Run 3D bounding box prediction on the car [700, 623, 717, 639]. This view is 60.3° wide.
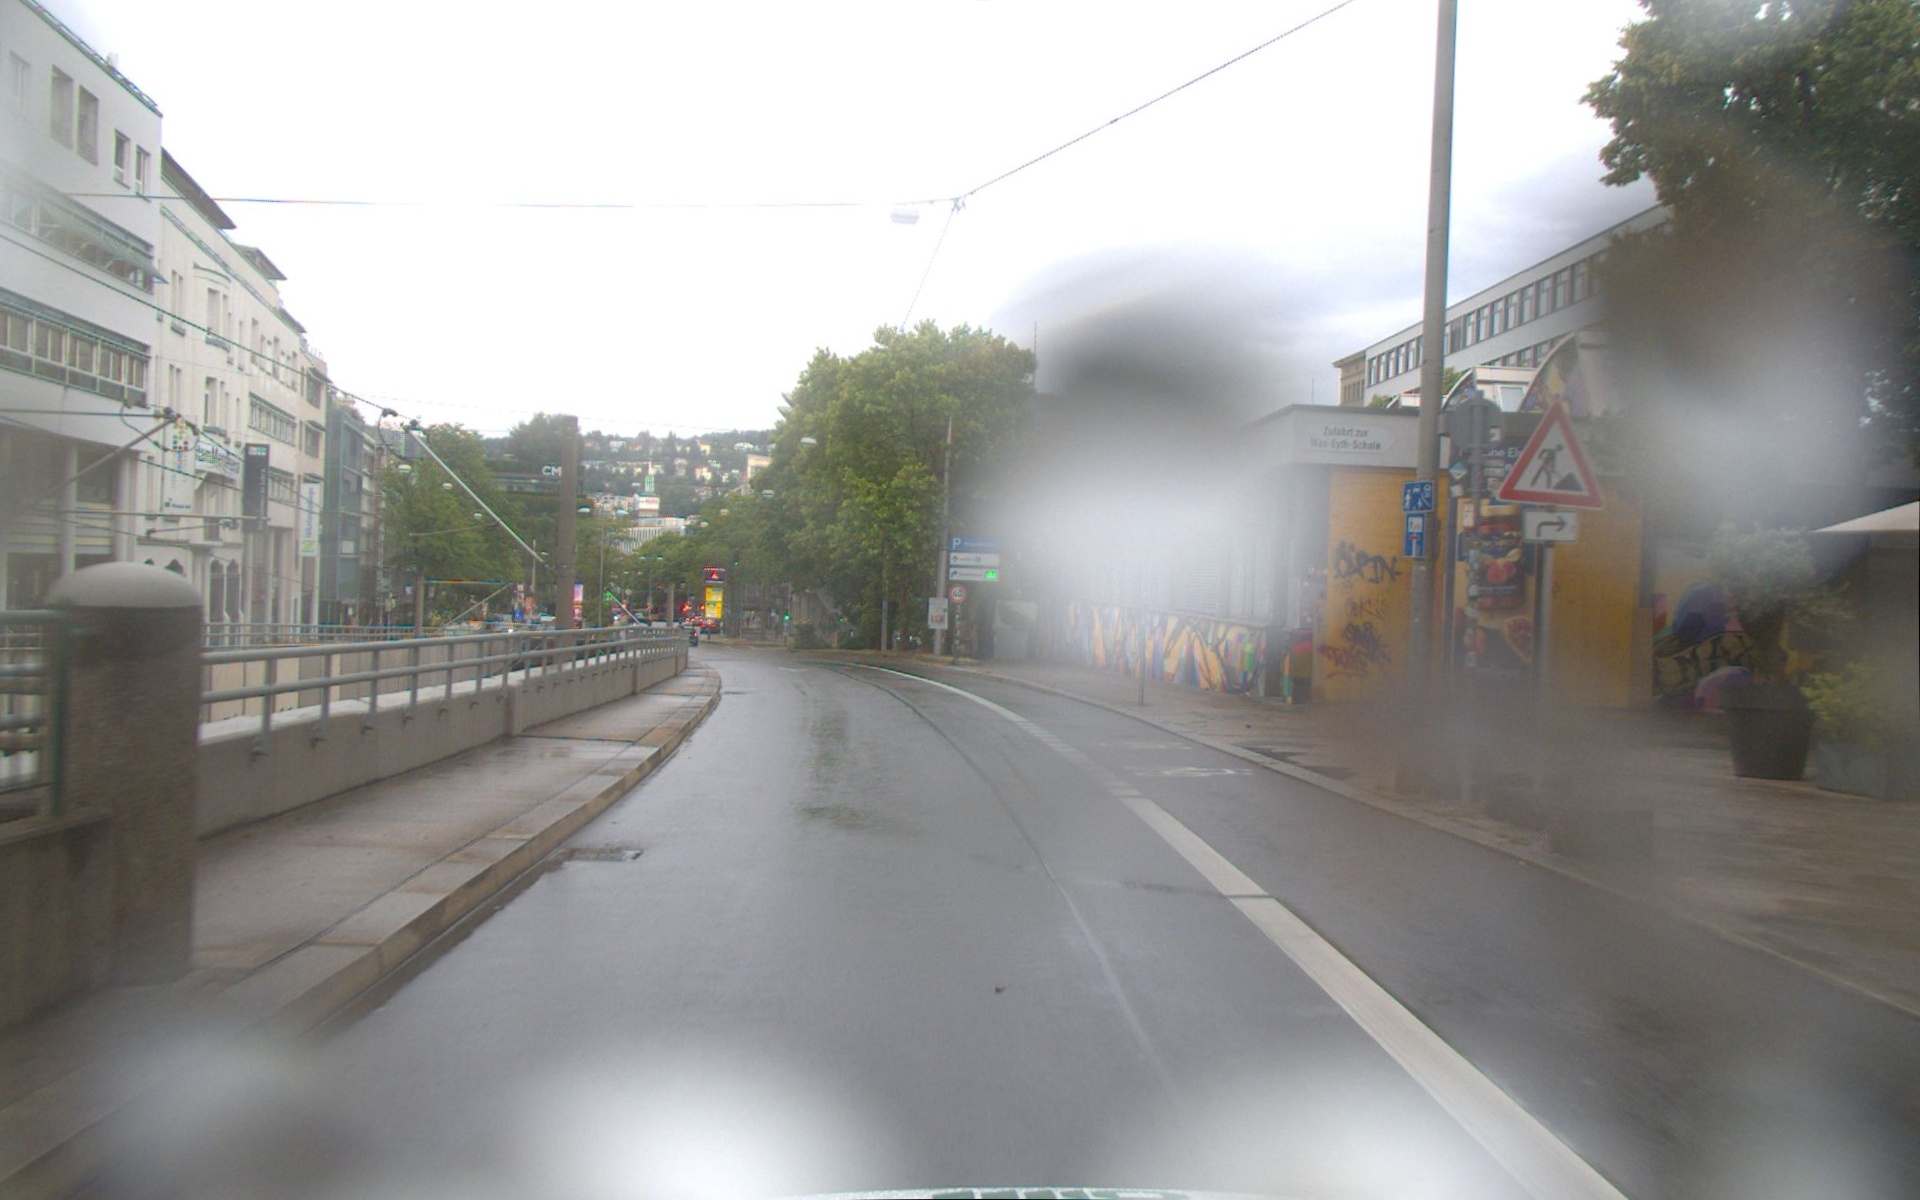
[{"bbox_3d":[-29.201,3.590,191.794,1.866,1.713,3.901,2,-2,-9],"label":"car"}]

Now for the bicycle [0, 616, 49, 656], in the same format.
[{"bbox_3d":[-27.303,0.993,46.359,1.662,1.062,4.512,1,0,-9],"label":"bicycle"}]

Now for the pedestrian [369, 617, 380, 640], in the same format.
[{"bbox_3d":[-44.833,2.195,126.611,0.653,1.701,0.486,2,-2,-15],"label":"pedestrian"}]

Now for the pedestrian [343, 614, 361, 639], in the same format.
[{"bbox_3d":[-46.860,2.051,127.513,0.846,1.901,0.960,2,-2,5],"label":"pedestrian"}]

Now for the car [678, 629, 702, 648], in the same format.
[{"bbox_3d":[-23.050,3.244,141.120,1.716,1.546,4.091,2,-2,-14],"label":"car"}]

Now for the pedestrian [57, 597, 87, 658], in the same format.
[{"bbox_3d":[-24.351,0.739,45.358,0.664,1.644,0.933,2,-1,-28],"label":"pedestrian"}]

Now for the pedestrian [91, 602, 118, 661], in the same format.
[{"bbox_3d":[-26.460,0.972,51.159,0.664,1.816,0.933,2,-1,-28],"label":"pedestrian"}]

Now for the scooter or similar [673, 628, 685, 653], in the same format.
[{"bbox_3d":[-17.020,2.459,100.167,0.537,1.443,1.947,2,-2,-15],"label":"scooter or similar"}]

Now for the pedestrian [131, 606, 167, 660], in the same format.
[{"bbox_3d":[-25.646,1.047,52.293,0.778,1.671,0.672,1,-1,33],"label":"pedestrian"}]

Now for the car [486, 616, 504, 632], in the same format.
[{"bbox_3d":[-52.219,2.712,185.908,1.750,1.582,3.879,3,1,-14],"label":"car"}]

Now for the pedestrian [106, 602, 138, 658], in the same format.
[{"bbox_3d":[-26.610,0.962,52.538,0.597,1.752,0.671,1,-1,36],"label":"pedestrian"}]

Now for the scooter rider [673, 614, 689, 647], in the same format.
[{"bbox_3d":[-16.921,1.828,100.263,0.795,1.982,0.819,3,-2,-16],"label":"scooter rider"}]

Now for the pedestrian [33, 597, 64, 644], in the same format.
[{"bbox_3d":[-28.821,0.645,52.299,0.596,1.444,0.672,2,-1,-9],"label":"pedestrian"}]

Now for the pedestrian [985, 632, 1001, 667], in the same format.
[{"bbox_3d":[1.828,2.731,91.146,0.791,1.897,1.055,0,-2,-4],"label":"pedestrian"}]
